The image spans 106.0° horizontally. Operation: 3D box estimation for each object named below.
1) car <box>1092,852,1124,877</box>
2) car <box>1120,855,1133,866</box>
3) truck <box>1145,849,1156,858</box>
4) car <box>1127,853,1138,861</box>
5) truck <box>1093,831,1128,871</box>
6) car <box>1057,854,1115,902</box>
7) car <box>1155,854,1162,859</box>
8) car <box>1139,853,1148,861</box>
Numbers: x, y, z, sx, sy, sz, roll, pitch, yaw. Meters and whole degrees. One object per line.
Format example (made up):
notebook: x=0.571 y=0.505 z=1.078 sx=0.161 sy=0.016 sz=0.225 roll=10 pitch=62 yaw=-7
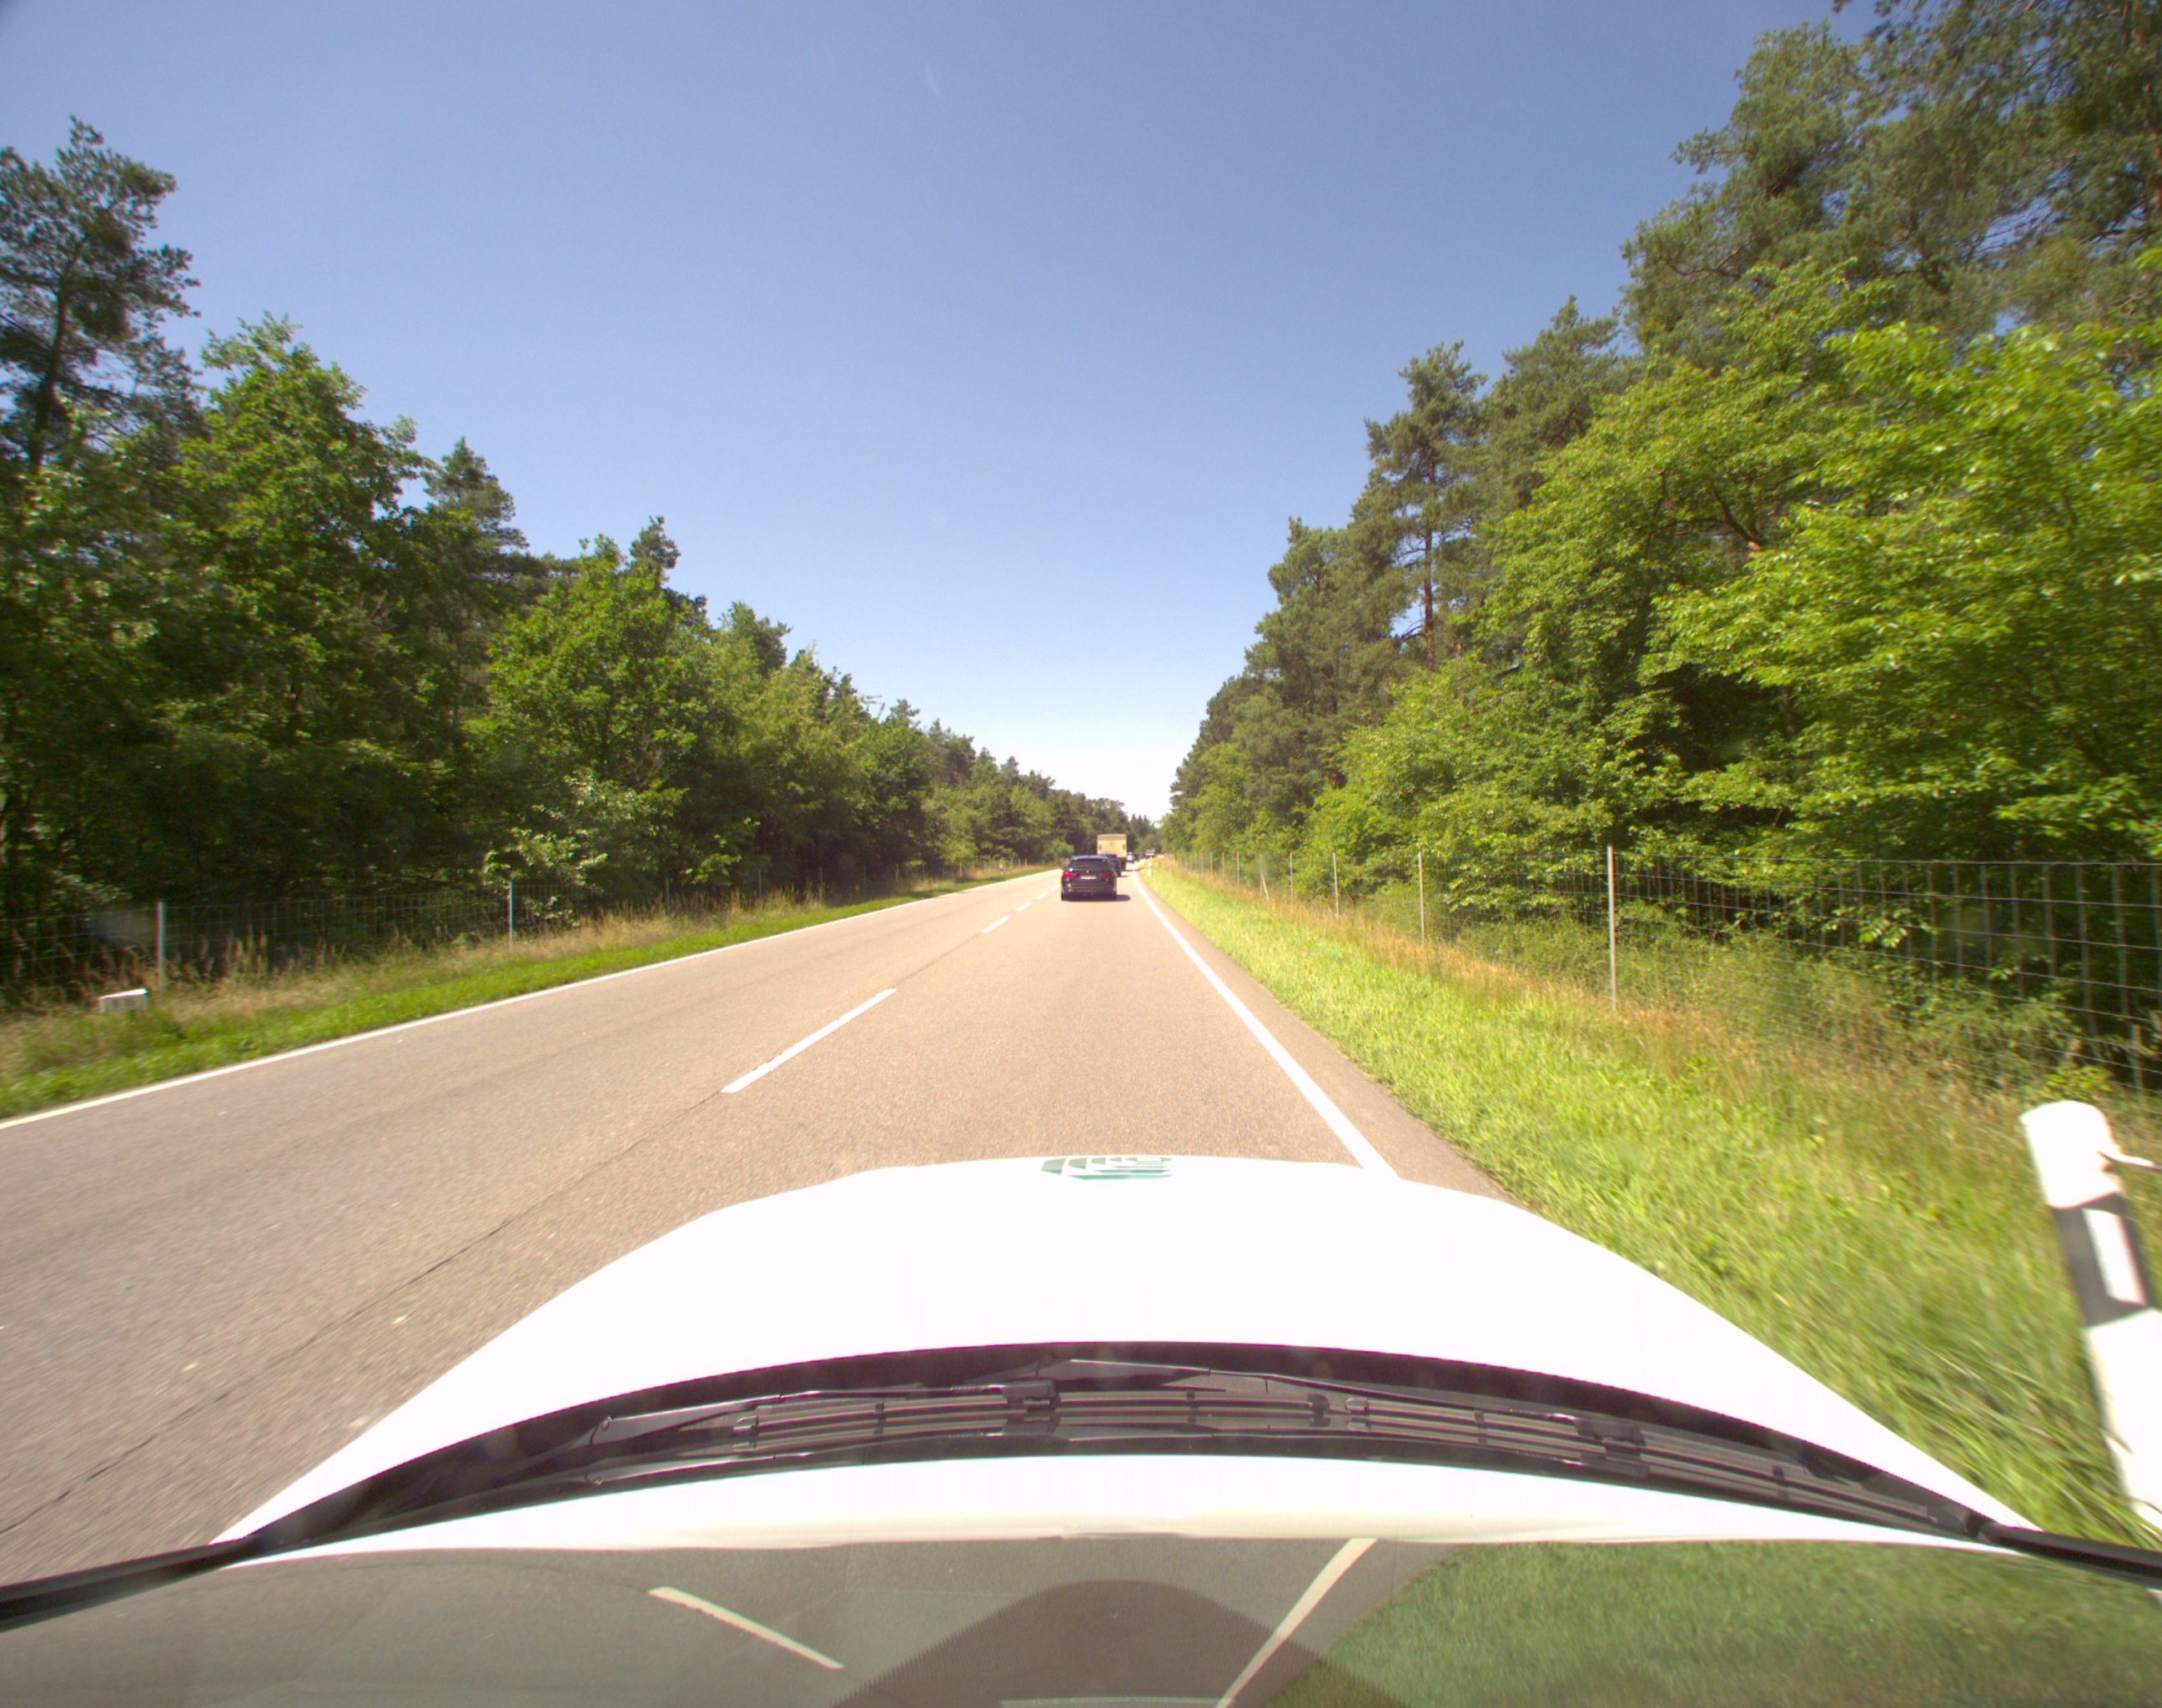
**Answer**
car: x=1.841 y=0.684 z=54.619 sx=1.938 sy=1.542 sz=4.005 roll=-2 pitch=0 yaw=4
car: x=6.842 y=0.994 z=122.584 sx=1.856 sy=1.605 sz=4.002 roll=-2 pitch=0 yaw=2
truck: x=18.004 y=-0.073 z=210.115 sx=2.549 sy=2.202 sz=4.986 roll=-2 pitch=0 yaw=8
car: x=9.456 y=0.608 z=149.575 sx=1.986 sy=1.420 sz=4.002 roll=0 pitch=0 yaw=2
truck: x=2.608 y=-0.295 z=73.611 sx=2.955 sy=3.387 sz=6.439 roll=-1 pitch=0 yaw=1
car: x=0.181 y=0.768 z=27.811 sx=1.814 sy=1.470 sz=4.000 roll=-2 pitch=0 yaw=0
car: x=22.981 y=0.682 z=240.698 sx=1.784 sy=1.354 sz=3.939 roll=-2 pitch=0 yaw=9
car: x=14.259 y=0.637 z=185.983 sx=1.984 sy=1.636 sz=4.006 roll=-2 pitch=0 yaw=6
